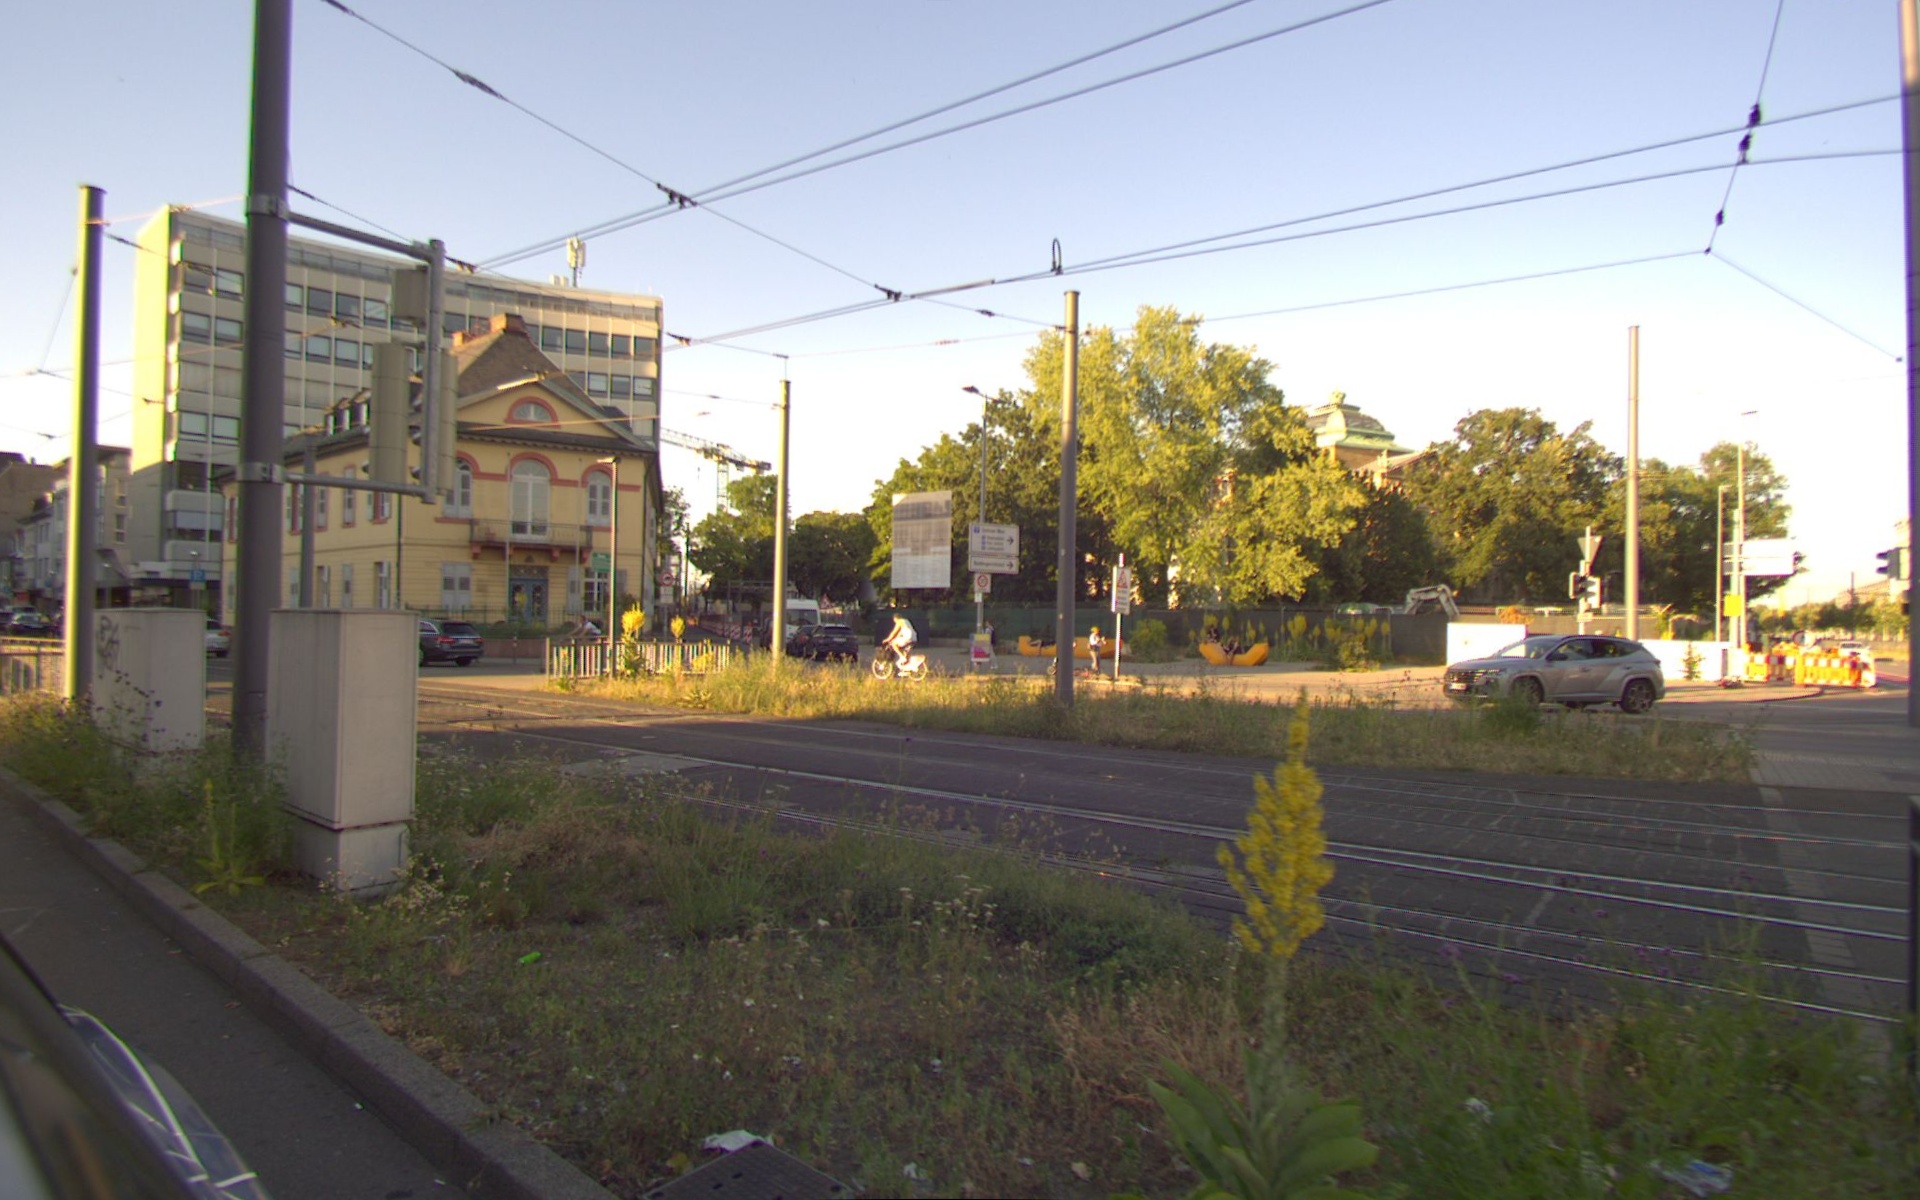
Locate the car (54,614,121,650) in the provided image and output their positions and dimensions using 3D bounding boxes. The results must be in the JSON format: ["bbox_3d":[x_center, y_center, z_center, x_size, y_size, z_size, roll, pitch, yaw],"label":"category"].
[{"bbox_3d":[-41.119,1.470,47.685,4.070,1.610,1.815,-1,-2,41],"label":"car"}]

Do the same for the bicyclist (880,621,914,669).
[{"bbox_3d":[-1.705,1.211,27.439,0.722,1.267,0.664,0,-2,16],"label":"bicyclist"}]

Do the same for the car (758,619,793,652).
[{"bbox_3d":[-10.996,2.081,60.236,1.689,1.863,4.033,2,-2,-15],"label":"car"}]

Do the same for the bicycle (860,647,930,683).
[{"bbox_3d":[-1.762,1.756,27.435,1.781,0.899,0.677,1,-1,16],"label":"bicycle"}]

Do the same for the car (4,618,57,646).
[{"bbox_3d":[-51.617,1.750,56.173,4.659,1.439,1.989,0,-2,45],"label":"car"}]

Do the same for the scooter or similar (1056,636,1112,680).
[{"bbox_3d":[3.819,1.779,31.121,1.627,1.302,0.462,1,-2,-8],"label":"scooter or similar"}]

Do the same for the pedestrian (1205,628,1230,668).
[{"bbox_3d":[11.080,2.044,43.590,0.764,1.678,0.811,-1,-2,43],"label":"pedestrian"}]

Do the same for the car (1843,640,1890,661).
[{"bbox_3d":[63.161,3.479,70.470,4.237,1.416,1.919,2,-3,-41],"label":"car"}]

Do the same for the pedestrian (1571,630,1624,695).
[{"bbox_3d":[17.620,1.724,27.996,0.929,1.749,0.822,1,-1,-5],"label":"pedestrian"}]

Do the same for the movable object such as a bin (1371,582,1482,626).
[{"bbox_3d":[23.213,0.235,50.608,1.965,2.029,5.041,1,-2,-23],"label":"movable object such as a bin"}]

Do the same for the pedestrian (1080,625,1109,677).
[{"bbox_3d":[4.277,1.613,32.108,0.597,1.625,0.680,-1,-2,45],"label":"pedestrian"}]

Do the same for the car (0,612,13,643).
[{"bbox_3d":[-65.367,1.833,68.011,4.115,2.005,1.974,0,-2,39],"label":"car"}]

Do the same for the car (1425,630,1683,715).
[{"bbox_3d":[12.535,1.511,21.507,4.463,1.673,1.953,1,-1,-8],"label":"car"}]

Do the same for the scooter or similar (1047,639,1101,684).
[{"bbox_3d":[3.548,1.918,31.628,1.502,1.269,0.613,4,-2,-8],"label":"scooter or similar"}]

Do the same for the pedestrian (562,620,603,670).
[{"bbox_3d":[-11.494,1.361,30.824,1.027,1.514,1.007,1,-2,-13],"label":"pedestrian"}]

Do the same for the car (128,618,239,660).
[{"bbox_3d":[-28.531,1.407,37.156,4.324,1.421,1.894,0,-2,33],"label":"car"}]

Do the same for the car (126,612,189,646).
[{"bbox_3d":[-41.501,1.483,52.298,3.801,1.721,1.715,-1,-2,39],"label":"car"}]

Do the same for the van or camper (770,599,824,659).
[{"bbox_3d":[-8.273,1.445,50.822,2.049,2.796,6.467,2,-2,-14],"label":"van or camper"}]

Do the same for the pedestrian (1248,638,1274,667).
[{"bbox_3d":[12.609,2.194,42.387,0.735,1.166,0.976,-1,-2,42],"label":"pedestrian"}]

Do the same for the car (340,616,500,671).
[{"bbox_3d":[-16.519,1.291,30.980,4.384,1.528,1.986,0,1,22],"label":"car"}]

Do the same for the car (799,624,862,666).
[{"bbox_3d":[-5.274,1.764,40.670,1.753,1.555,4.303,2,-2,-17],"label":"car"}]

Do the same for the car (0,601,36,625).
[{"bbox_3d":[-78.782,1.076,84.295,3.994,1.962,1.975,0,-2,38],"label":"car"}]

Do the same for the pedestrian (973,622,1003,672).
[{"bbox_3d":[1.005,1.677,36.246,0.864,1.737,0.831,2,-2,-11],"label":"pedestrian"}]

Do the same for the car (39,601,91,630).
[{"bbox_3d":[-61.255,1.094,69.247,3.994,1.962,1.975,-1,-2,38],"label":"car"}]
